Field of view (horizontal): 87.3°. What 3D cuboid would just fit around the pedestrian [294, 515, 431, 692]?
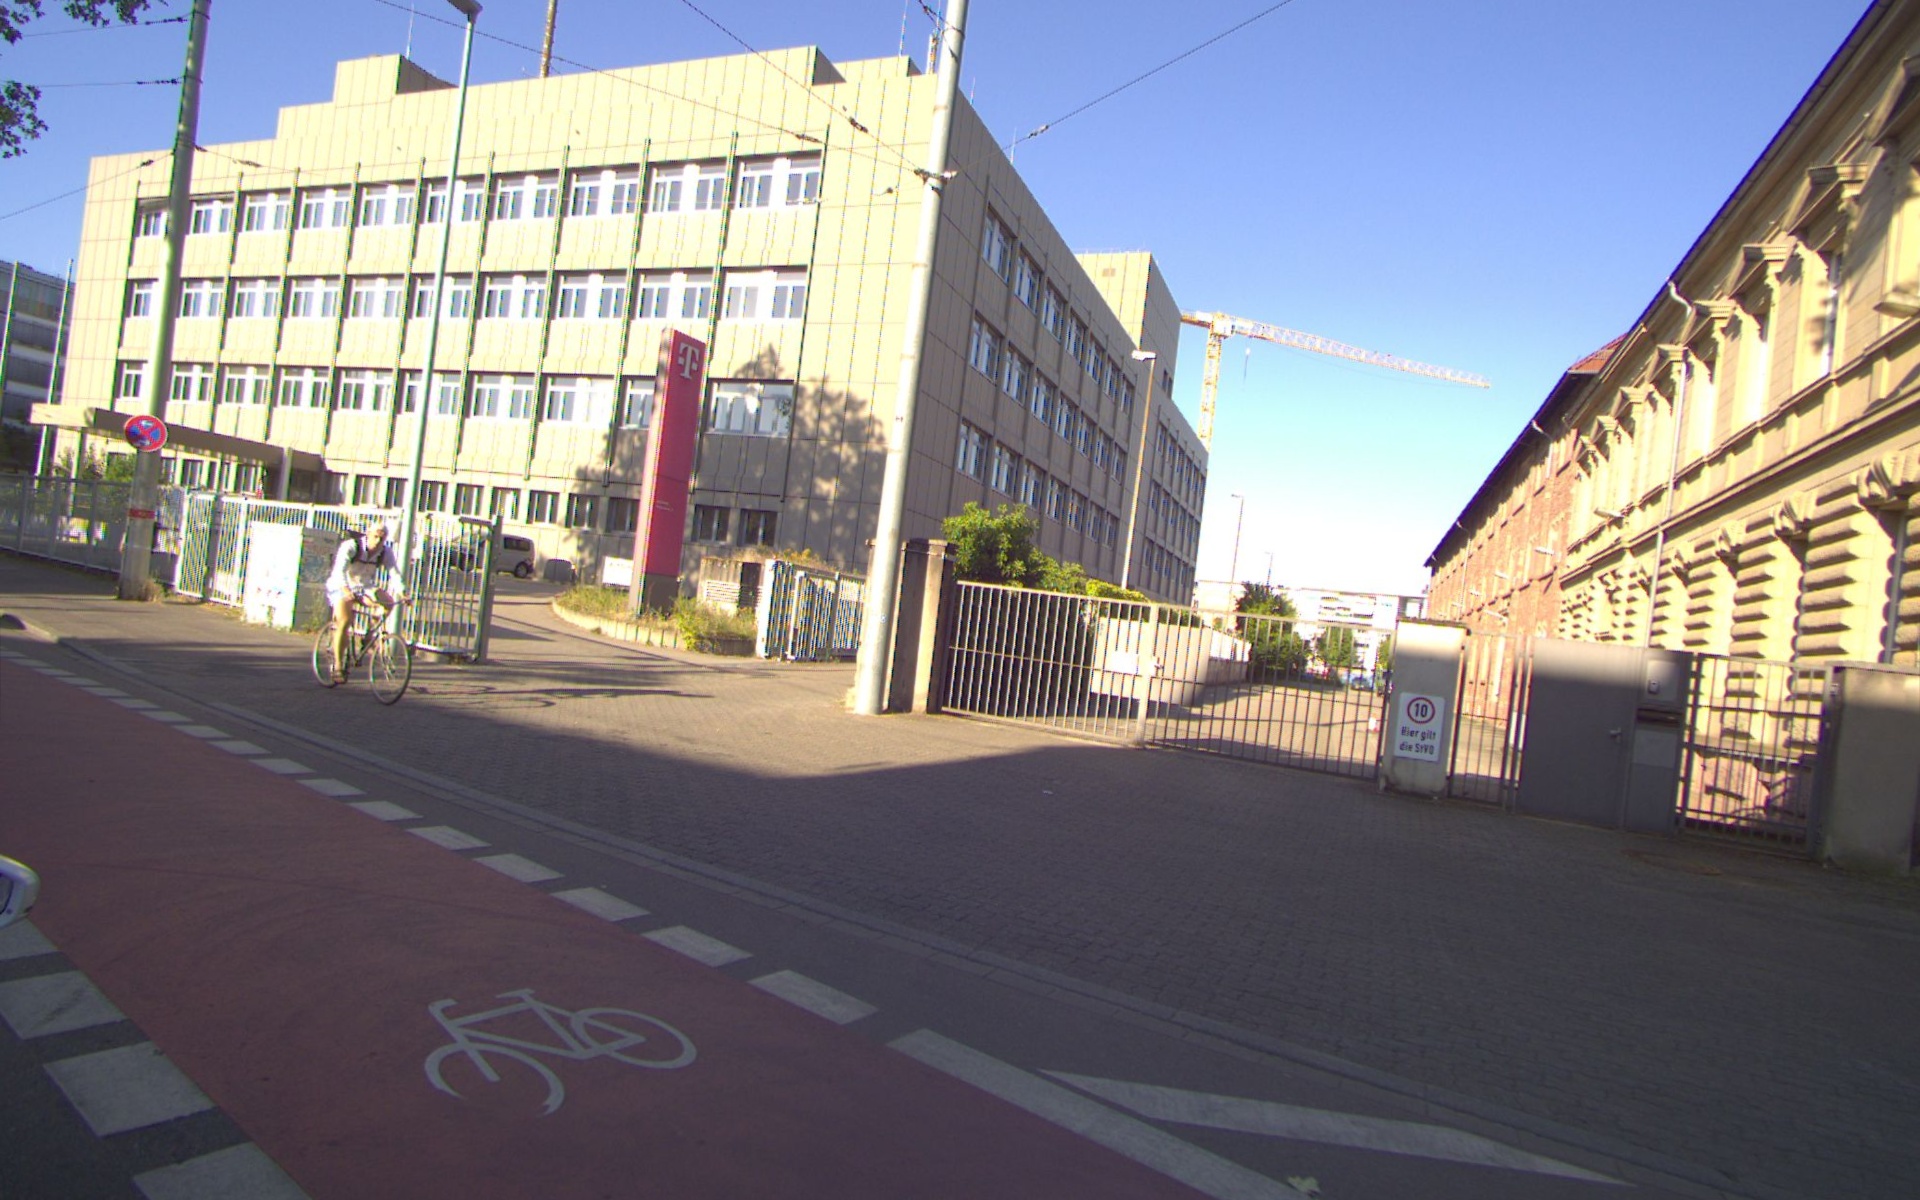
[{"bbox_3d":[-6.062,0.030,10.206,1.084,1.640,0.670,7,2,31],"label":"pedestrian"}]

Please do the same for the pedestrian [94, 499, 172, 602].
[{"bbox_3d":[-14.884,-0.885,18.108,0.915,1.704,0.697,7,0,31],"label":"pedestrian"}]

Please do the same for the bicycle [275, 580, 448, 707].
[{"bbox_3d":[-6.103,0.415,10.225,1.869,1.045,0.675,7,2,32],"label":"bicycle"}]

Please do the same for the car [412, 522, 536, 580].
[{"bbox_3d":[-19.860,-1.955,41.316,1.957,1.738,4.266,7,-1,22],"label":"car"}]

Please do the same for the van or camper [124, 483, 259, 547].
[{"bbox_3d":[-30.975,-3.438,40.564,4.908,1.932,1.986,7,0,22],"label":"van or camper"}]
